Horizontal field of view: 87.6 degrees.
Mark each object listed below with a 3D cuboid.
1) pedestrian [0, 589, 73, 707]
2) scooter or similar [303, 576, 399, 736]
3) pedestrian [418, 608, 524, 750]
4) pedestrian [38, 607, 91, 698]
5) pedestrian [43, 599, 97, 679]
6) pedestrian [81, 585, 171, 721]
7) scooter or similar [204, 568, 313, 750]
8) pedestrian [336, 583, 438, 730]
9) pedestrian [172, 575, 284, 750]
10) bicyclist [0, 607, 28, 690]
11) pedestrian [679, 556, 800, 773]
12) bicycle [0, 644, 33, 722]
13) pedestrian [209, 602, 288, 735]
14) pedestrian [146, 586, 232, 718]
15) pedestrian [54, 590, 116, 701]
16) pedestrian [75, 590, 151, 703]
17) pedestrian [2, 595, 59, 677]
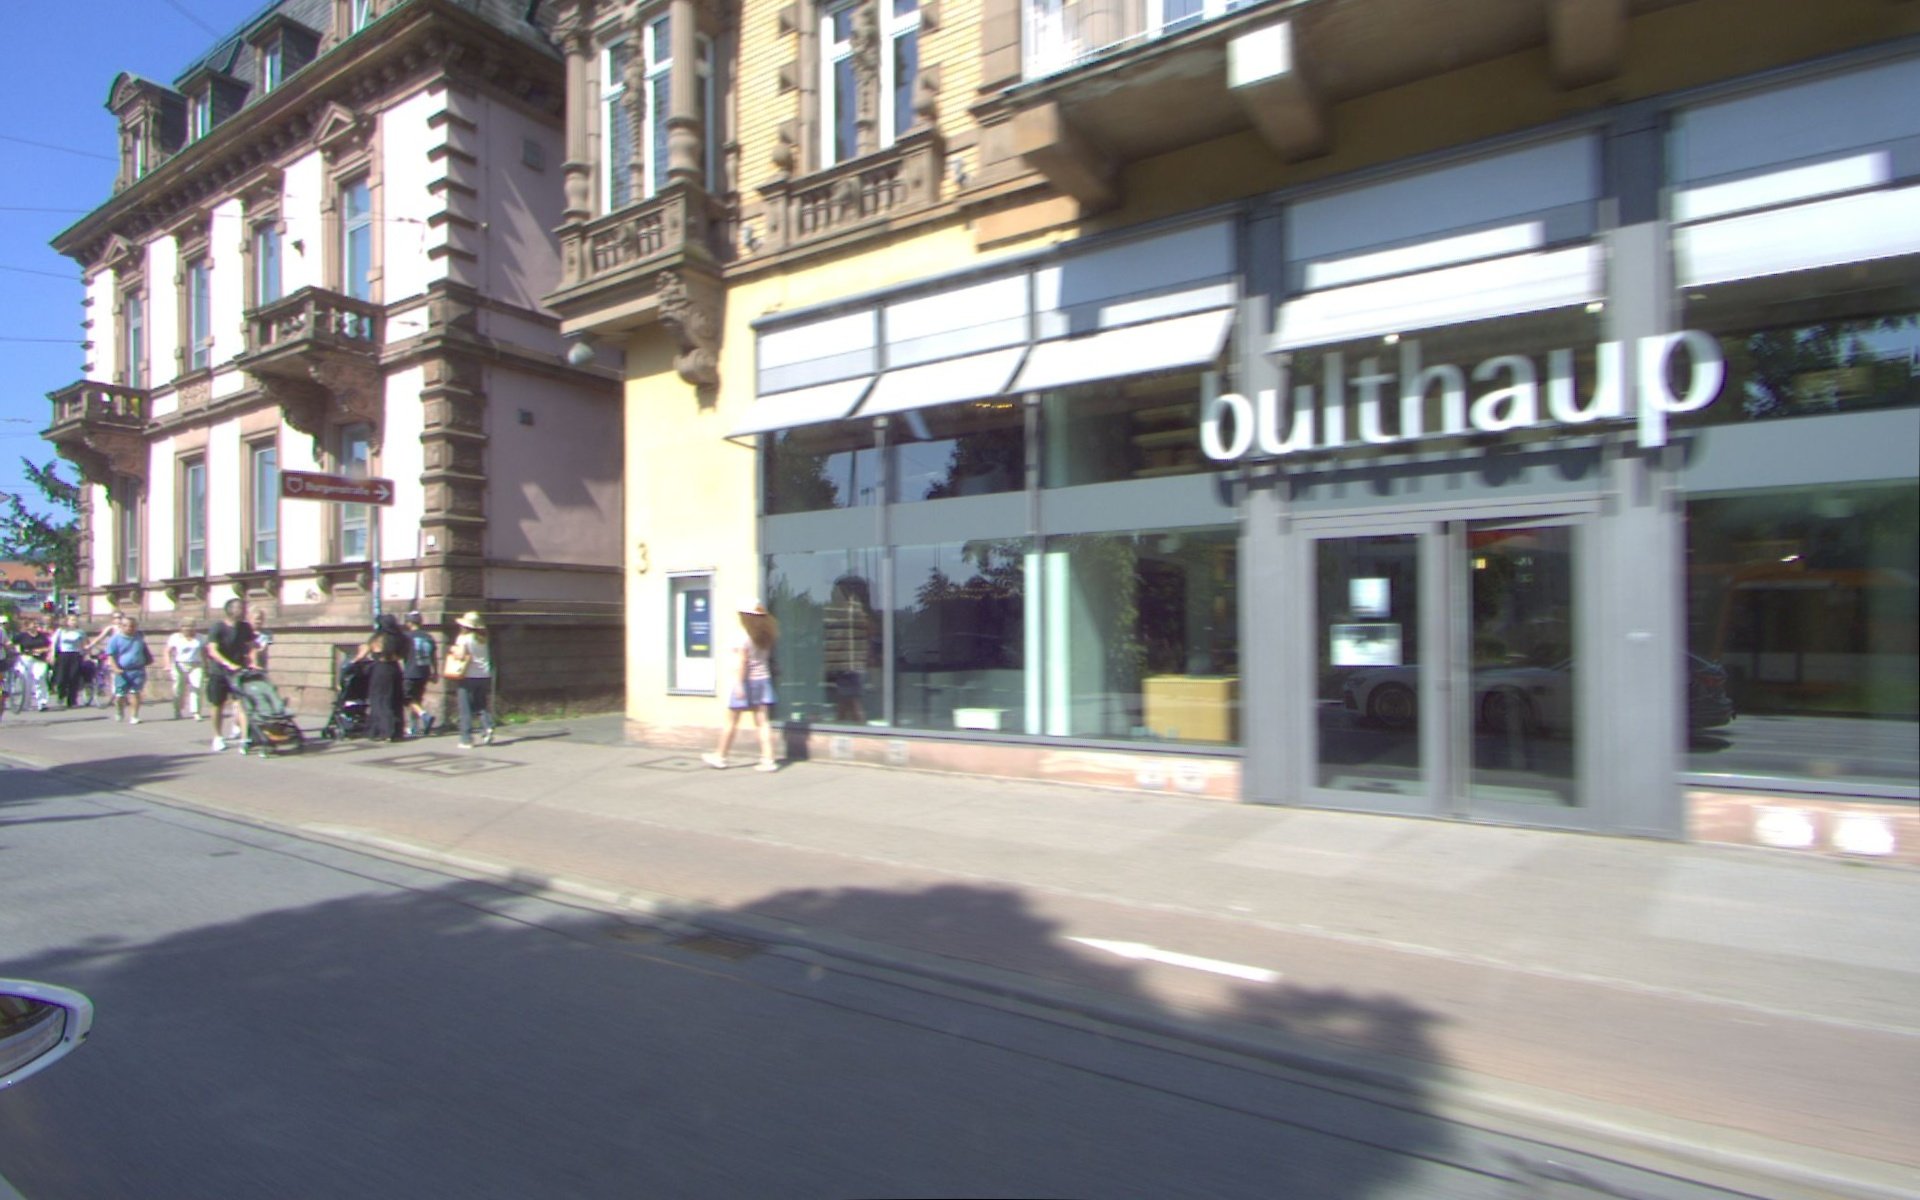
[{"bbox_3d":[-16.661,0.840,18.012,0.803,2.041,0.810,0,2,32],"label":"pedestrian"},{"bbox_3d":[-8.111,0.728,13.345,1.080,2.040,0.691,0,0,32],"label":"scooter or similar"},{"bbox_3d":[-5.938,0.925,12.179,0.803,1.624,0.810,0,2,32],"label":"pedestrian"},{"bbox_3d":[-19.354,1.117,21.647,0.890,1.916,0.633,0,0,31],"label":"pedestrian"},{"bbox_3d":[-20.286,0.873,22.828,0.890,1.792,0.704,0,0,31],"label":"pedestrian"},{"bbox_3d":[-12.974,0.794,15.591,0.803,2.041,0.810,0,2,32],"label":"pedestrian"},{"bbox_3d":[-8.260,0.673,11.797,1.080,2.040,0.691,0,0,32],"label":"scooter or similar"},{"bbox_3d":[-7.374,0.696,12.910,0.803,1.817,0.810,0,2,32],"label":"pedestrian"},{"bbox_3d":[-8.931,0.725,12.232,0.803,2.041,0.810,0,2,32],"label":"pedestrian"},{"bbox_3d":[-14.819,0.722,15.093,0.958,1.235,0.919,0,0,32],"label":"bicyclist"},{"bbox_3d":[-2.185,0.606,9.965,0.803,2.041,0.810,0,2,32],"label":"pedestrian"},{"bbox_3d":[-14.919,1.234,15.150,2.108,1.117,0.777,0,0,32],"label":"bicycle"},{"bbox_3d":[-9.557,0.903,13.452,0.620,1.716,0.703,-1,-1,36],"label":"pedestrian"},{"bbox_3d":[-12.363,0.811,16.065,0.803,2.041,0.810,0,2,32],"label":"pedestrian"},{"bbox_3d":[-16.488,0.839,18.874,0.689,2.041,0.658,0,2,32],"label":"pedestrian"},{"bbox_3d":[-15.799,0.847,18.681,0.803,2.041,0.810,0,2,32],"label":"pedestrian"},{"bbox_3d":[-20.466,0.792,22.051,0.890,1.775,0.704,-1,-1,31],"label":"pedestrian"}]
